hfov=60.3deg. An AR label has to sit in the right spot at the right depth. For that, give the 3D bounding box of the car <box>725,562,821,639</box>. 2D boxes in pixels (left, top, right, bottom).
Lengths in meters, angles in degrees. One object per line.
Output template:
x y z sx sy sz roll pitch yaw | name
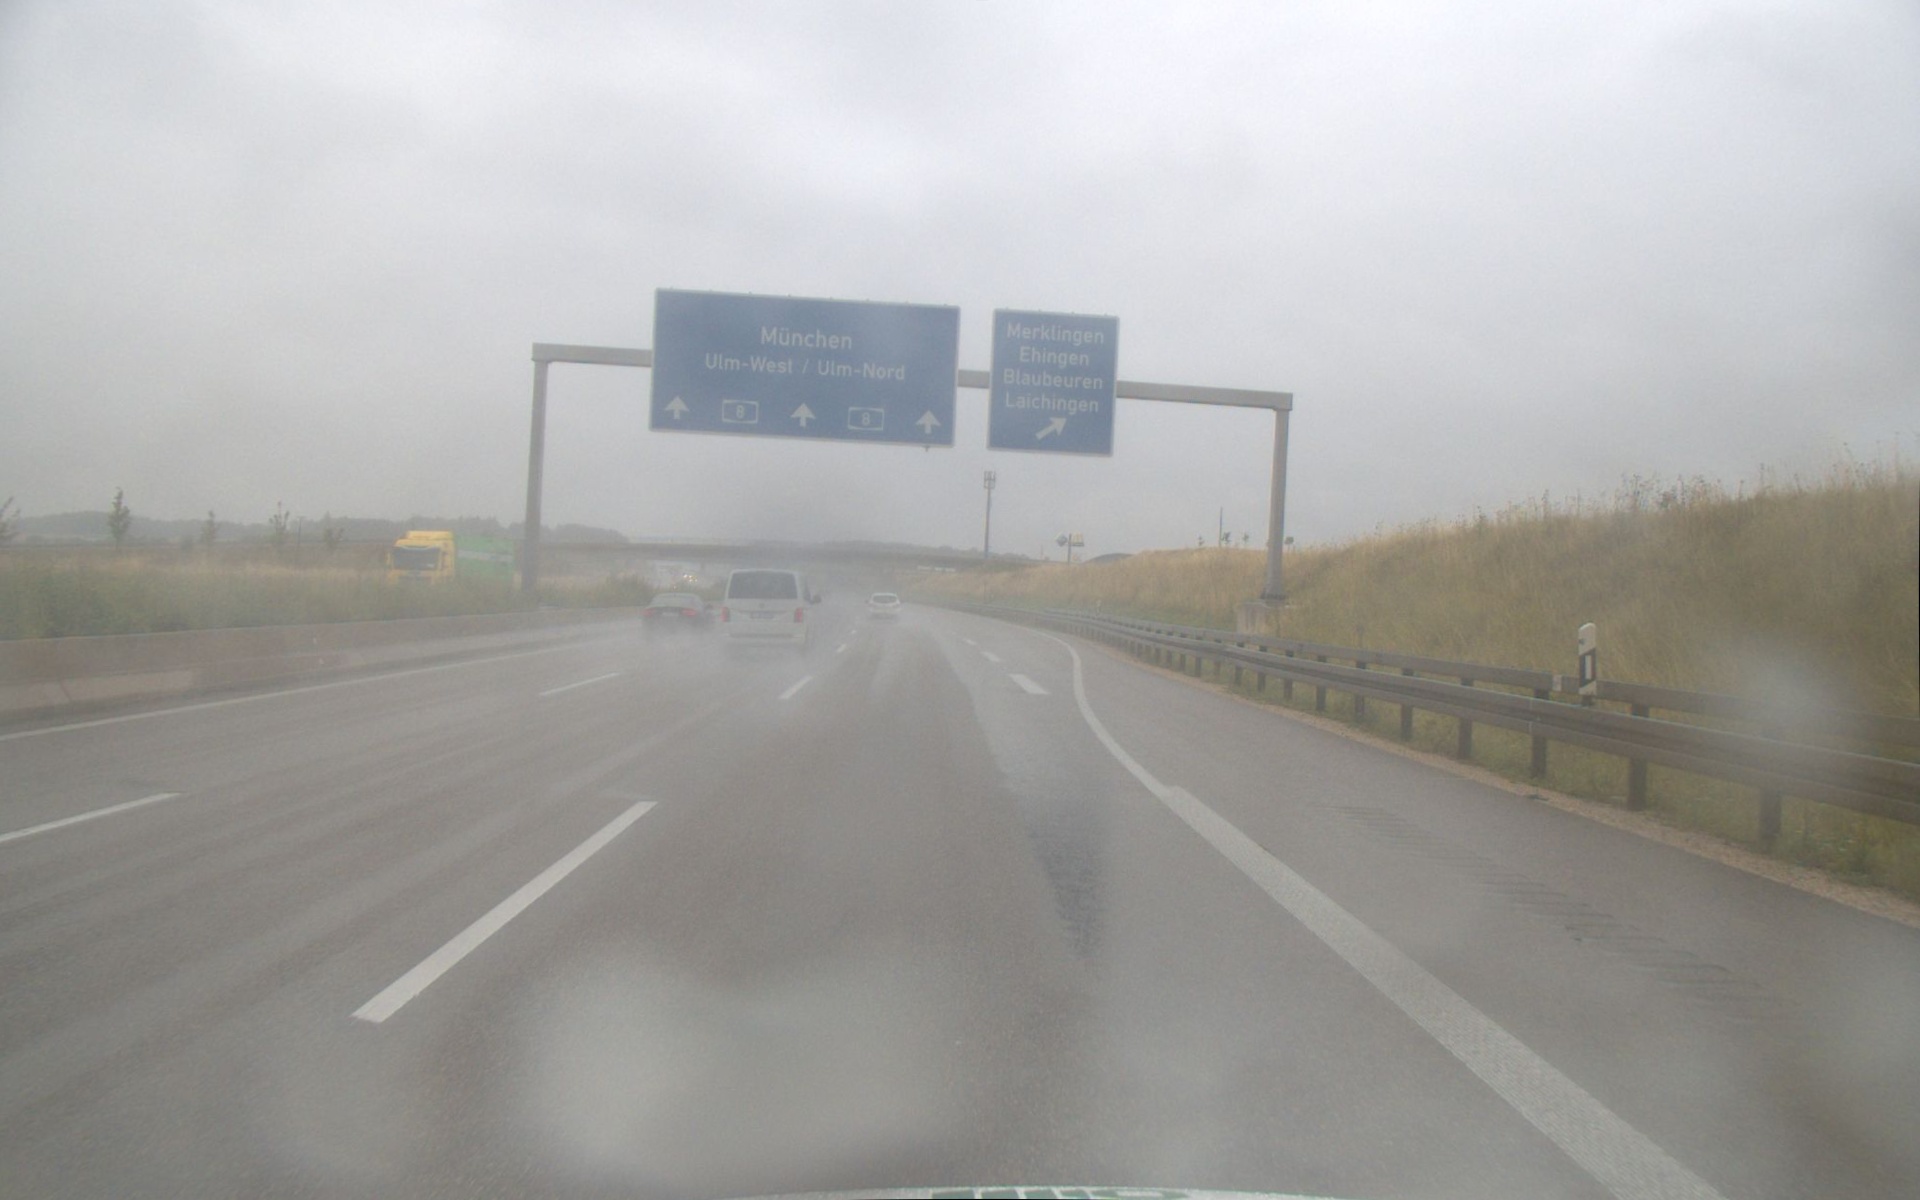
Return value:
-4.157 0.012 37.356 1.859 1.613 3.998 1 0 -3 | car

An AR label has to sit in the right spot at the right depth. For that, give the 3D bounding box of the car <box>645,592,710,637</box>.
-8.398 0.413 49.397 1.438 1.279 3.339 0 0 -1 | car

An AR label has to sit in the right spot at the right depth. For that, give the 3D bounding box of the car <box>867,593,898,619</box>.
-3.803 0.276 81.146 1.439 1.229 2.989 1 0 -4 | car

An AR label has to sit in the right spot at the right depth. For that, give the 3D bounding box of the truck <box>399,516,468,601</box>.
-25.809 -1.989 81.239 1.969 4.061 4.818 1 0 -2 | truck
